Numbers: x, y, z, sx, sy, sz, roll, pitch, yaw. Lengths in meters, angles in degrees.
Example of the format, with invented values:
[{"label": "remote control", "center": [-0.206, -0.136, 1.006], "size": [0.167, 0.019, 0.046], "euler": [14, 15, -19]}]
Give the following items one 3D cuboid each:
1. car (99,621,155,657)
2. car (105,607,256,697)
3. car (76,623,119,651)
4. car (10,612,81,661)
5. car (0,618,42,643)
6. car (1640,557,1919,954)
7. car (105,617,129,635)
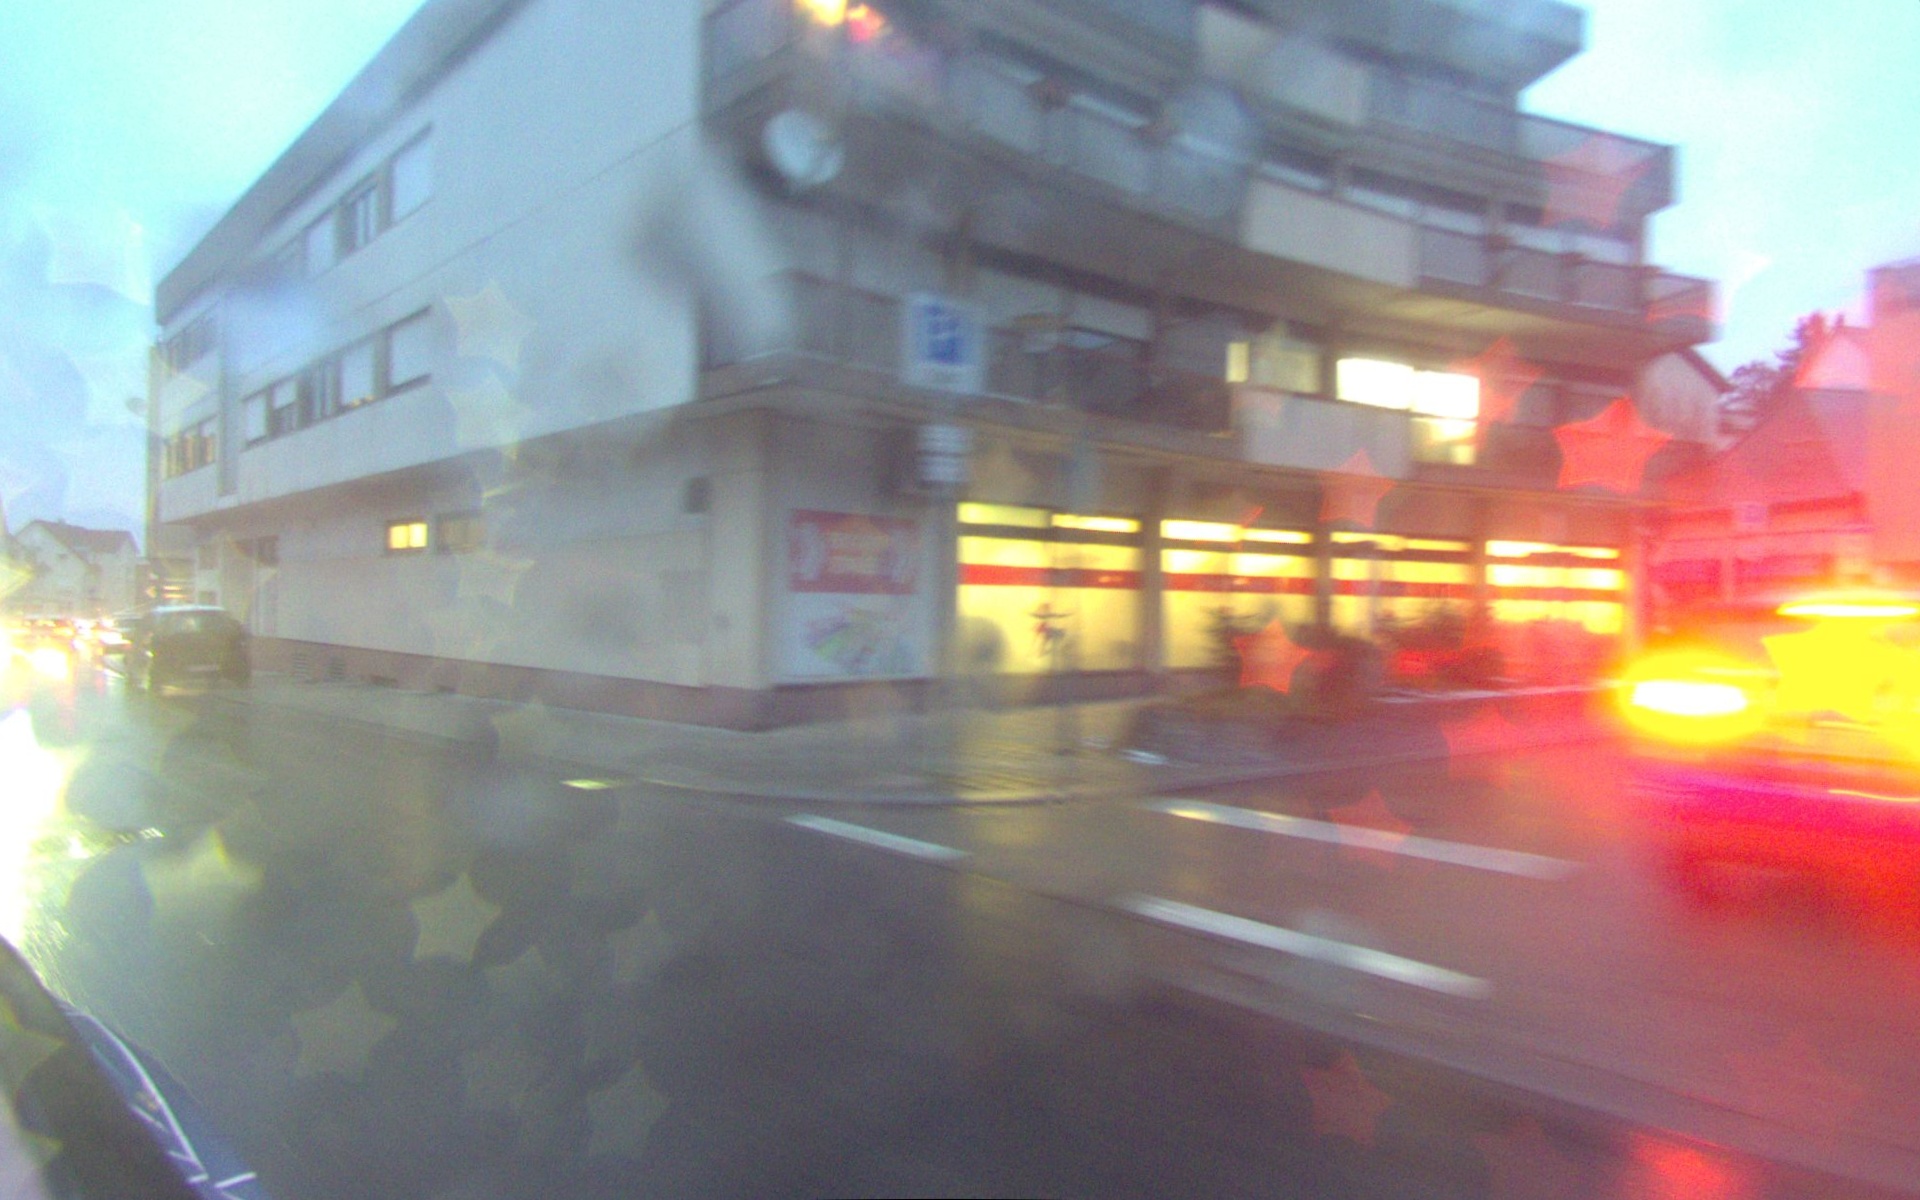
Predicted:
[{"label": "car", "center": [-35.685, 1.640, 43.392], "size": [1.751, 1.460, 3.834], "euler": [-1, -1, -39]}, {"label": "car", "center": [-15.927, 0.989, 20.613], "size": [3.828, 1.629, 1.874], "euler": [-1, -1, 44]}, {"label": "car", "center": [-47.811, 2.010, 56.173], "size": [1.751, 1.460, 3.833], "euler": [-1, -1, -40]}, {"label": "car", "center": [-34.065, 1.342, 37.732], "size": [1.866, 1.692, 4.005], "euler": [-1, -1, -42]}, {"label": "car", "center": [-63.402, 2.045, 68.153], "size": [1.893, 1.630, 3.878], "euler": [-1, -1, -35]}, {"label": "car", "center": [4.901, 0.581, 4.947], "size": [3.256, 1.519, 1.506], "euler": [-1, -1, -34]}, {"label": "car", "center": [-96.694, 2.975, 116.099], "size": [1.808, 2.029, 3.709], "euler": [-1, -1, -34]}]
